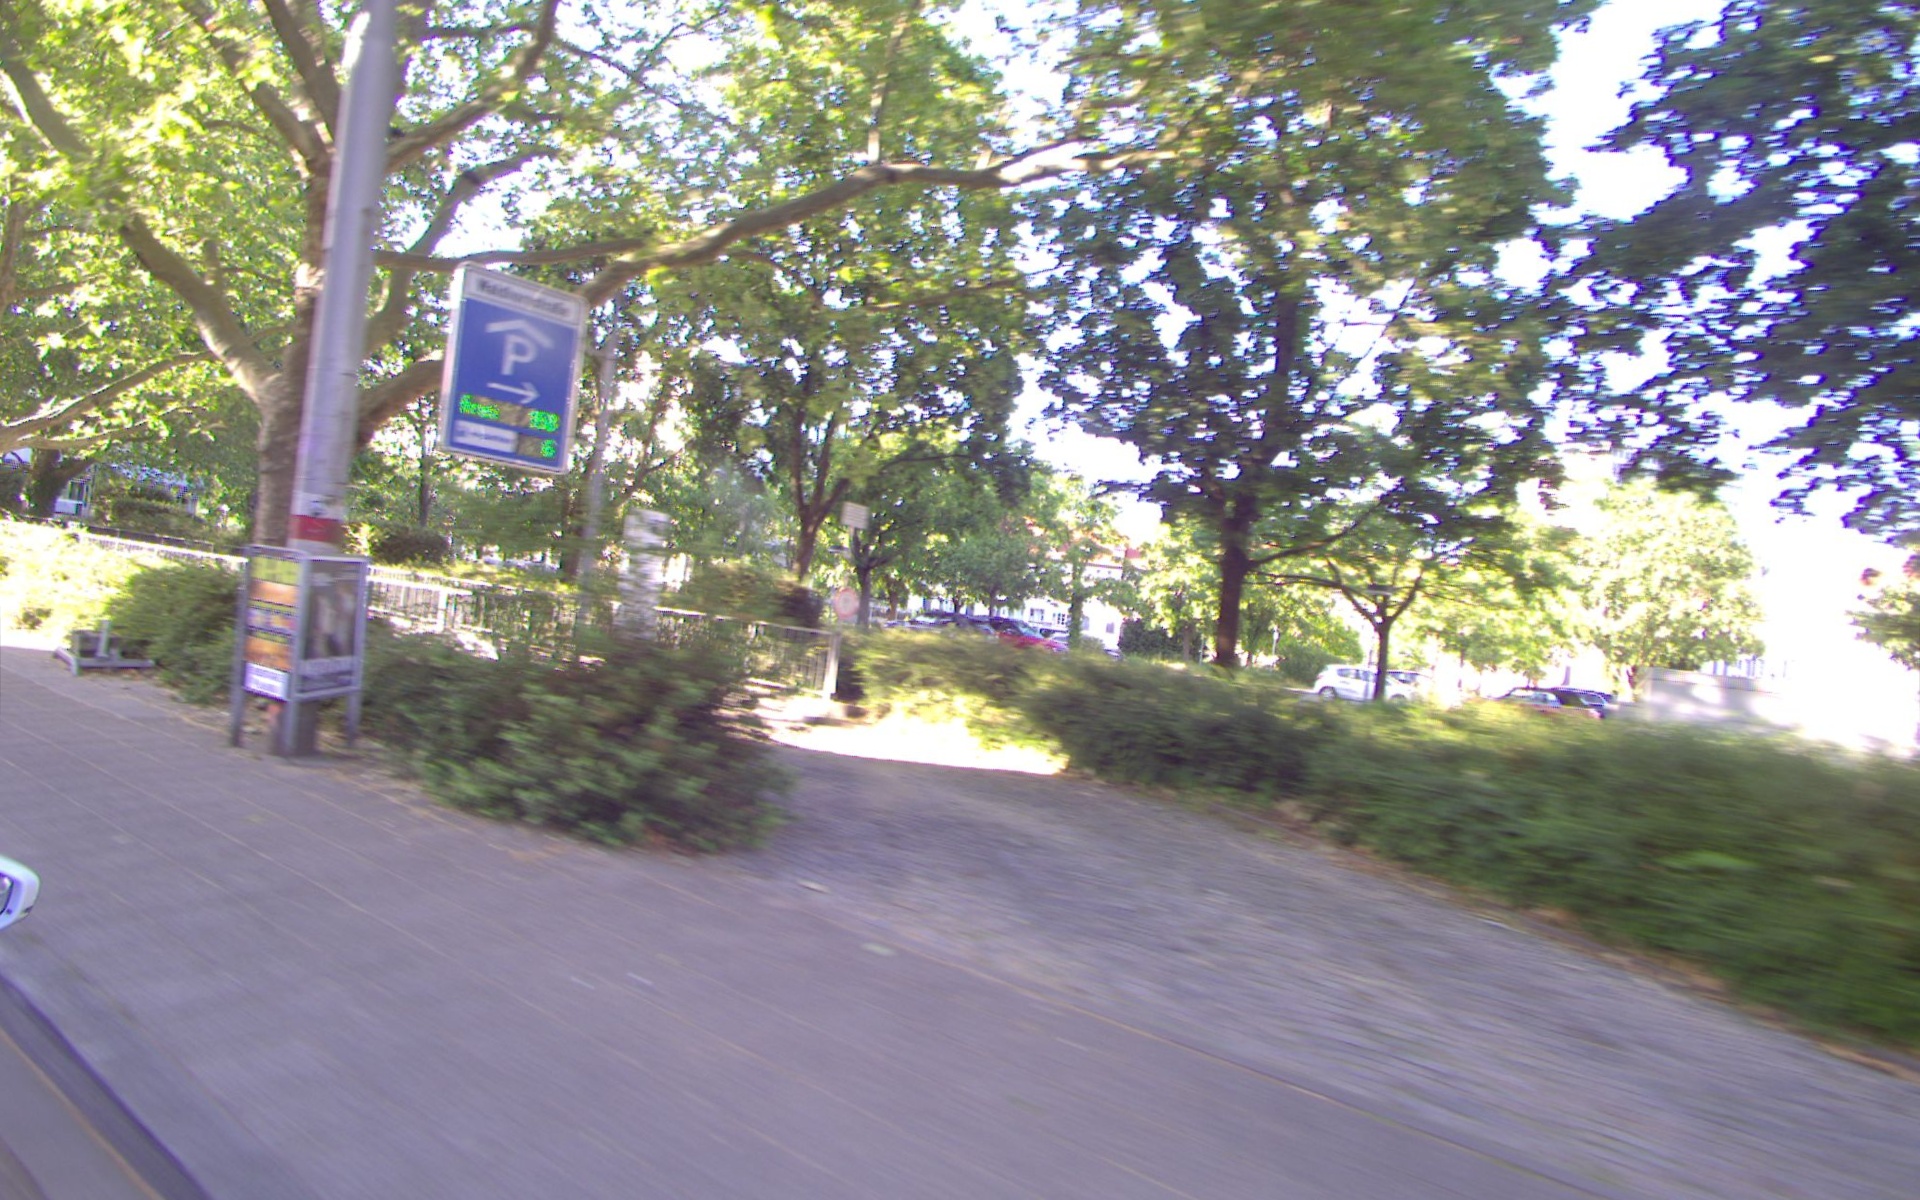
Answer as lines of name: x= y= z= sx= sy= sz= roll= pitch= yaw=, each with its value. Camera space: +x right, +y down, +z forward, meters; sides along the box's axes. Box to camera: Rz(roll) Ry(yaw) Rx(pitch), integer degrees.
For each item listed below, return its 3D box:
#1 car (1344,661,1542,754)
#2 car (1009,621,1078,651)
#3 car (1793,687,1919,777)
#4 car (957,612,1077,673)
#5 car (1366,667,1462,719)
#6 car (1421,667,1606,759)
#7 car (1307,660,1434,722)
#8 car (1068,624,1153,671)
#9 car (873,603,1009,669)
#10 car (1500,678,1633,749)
car: x=12.183 y=2.666 z=25.450 sx=4.240 sy=1.620 sz=1.785 roll=7 pitch=-1 yaw=32
car: x=6.137 y=2.648 z=74.205 sx=4.582 sy=1.491 sz=2.011 roll=7 pitch=-2 yaw=33
car: x=32.548 y=4.693 z=34.963 sx=5.073 sy=2.604 sz=1.996 roll=7 pitch=0 yaw=31
car: x=2.051 y=1.522 z=36.643 sx=3.935 sy=1.645 sz=1.551 roll=7 pitch=-2 yaw=33
car: x=22.661 y=4.626 z=50.219 sx=3.978 sy=1.969 sz=1.922 roll=7 pitch=-2 yaw=32
car: x=15.431 y=3.102 z=28.157 sx=4.240 sy=1.833 sz=1.785 roll=7 pitch=-1 yaw=32
car: x=15.230 y=3.371 z=37.351 sx=3.935 sy=1.645 sz=1.921 roll=7 pitch=-2 yaw=33
car: x=8.119 y=2.550 z=54.308 sx=3.930 sy=2.038 sz=1.997 roll=7 pitch=0 yaw=28
car: x=-0.627 y=1.170 z=32.877 sx=3.931 sy=1.646 sz=1.762 roll=7 pitch=-1 yaw=29
car: x=24.169 y=4.480 z=40.218 sx=4.240 sy=2.114 sz=1.785 roll=7 pitch=-1 yaw=32
